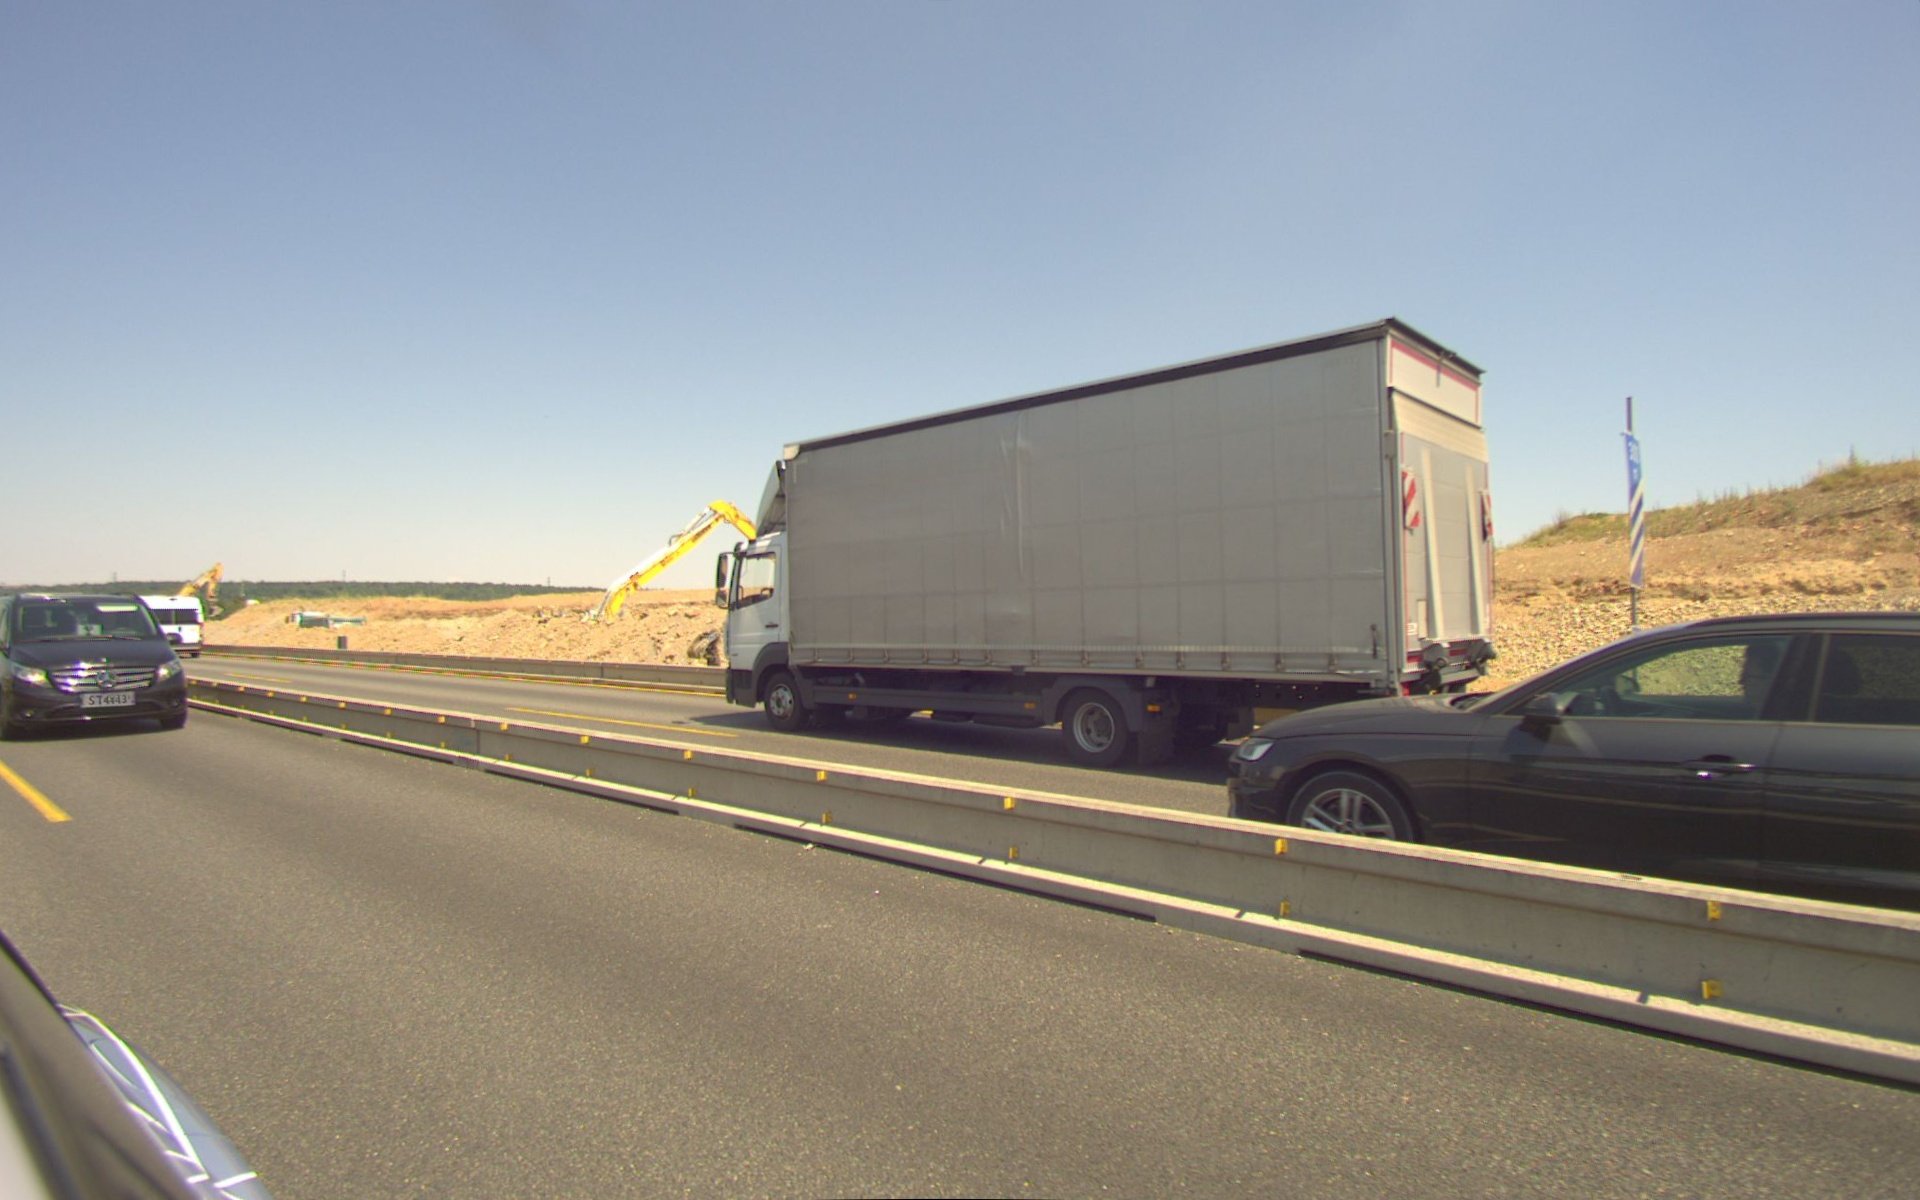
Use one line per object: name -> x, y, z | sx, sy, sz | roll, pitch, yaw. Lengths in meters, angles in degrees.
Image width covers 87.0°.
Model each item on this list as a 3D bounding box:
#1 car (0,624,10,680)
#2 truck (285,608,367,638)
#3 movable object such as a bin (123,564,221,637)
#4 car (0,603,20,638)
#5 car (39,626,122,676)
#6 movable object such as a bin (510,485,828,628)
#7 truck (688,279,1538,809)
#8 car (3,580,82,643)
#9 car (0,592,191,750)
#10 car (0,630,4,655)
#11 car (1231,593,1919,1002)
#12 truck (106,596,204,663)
car -> -28.203, 1.501, 28.475 | 4.098, 1.519, 1.781 | -2, -1, 41
truck -> -46.445, 1.669, 74.012 | 8.797, 2.074, 2.536 | -1, 0, 40
movable object such as a bin -> -80.454, 0.068, 103.450 | 4.080, 7.167, 7.283 | -1, 0, 41
car -> -84.272, 1.825, 88.738 | 5.847, 2.978, 2.228 | -1, 0, 42
car -> -29.420, 1.651, 33.823 | 4.052, 1.495, 1.610 | -1, 0, 42
movable object such as a bin -> -15.308, -2.139, 56.317 | 3.387, 6.823, 18.030 | -1, 0, 41
truck -> 0.785, -0.350, 11.296 | 9.479, 3.744, 2.616 | -1, 0, 42
car -> -58.437, 0.799, 64.413 | 8.088, 3.769, 2.878 | -2, -1, 42
car -> -12.871, 0.909, 14.575 | 5.477, 1.865, 1.854 | -2, -1, 42
car -> -58.620, 2.542, 60.501 | 4.560, 1.493, 1.769 | -1, 0, 42
car -> 3.733, 0.708, 4.573 | 4.499, 1.453, 1.838 | -1, 0, 41
truck -> -34.149, 1.300, 42.824 | 6.350, 2.589, 2.076 | -3, -1, 41
